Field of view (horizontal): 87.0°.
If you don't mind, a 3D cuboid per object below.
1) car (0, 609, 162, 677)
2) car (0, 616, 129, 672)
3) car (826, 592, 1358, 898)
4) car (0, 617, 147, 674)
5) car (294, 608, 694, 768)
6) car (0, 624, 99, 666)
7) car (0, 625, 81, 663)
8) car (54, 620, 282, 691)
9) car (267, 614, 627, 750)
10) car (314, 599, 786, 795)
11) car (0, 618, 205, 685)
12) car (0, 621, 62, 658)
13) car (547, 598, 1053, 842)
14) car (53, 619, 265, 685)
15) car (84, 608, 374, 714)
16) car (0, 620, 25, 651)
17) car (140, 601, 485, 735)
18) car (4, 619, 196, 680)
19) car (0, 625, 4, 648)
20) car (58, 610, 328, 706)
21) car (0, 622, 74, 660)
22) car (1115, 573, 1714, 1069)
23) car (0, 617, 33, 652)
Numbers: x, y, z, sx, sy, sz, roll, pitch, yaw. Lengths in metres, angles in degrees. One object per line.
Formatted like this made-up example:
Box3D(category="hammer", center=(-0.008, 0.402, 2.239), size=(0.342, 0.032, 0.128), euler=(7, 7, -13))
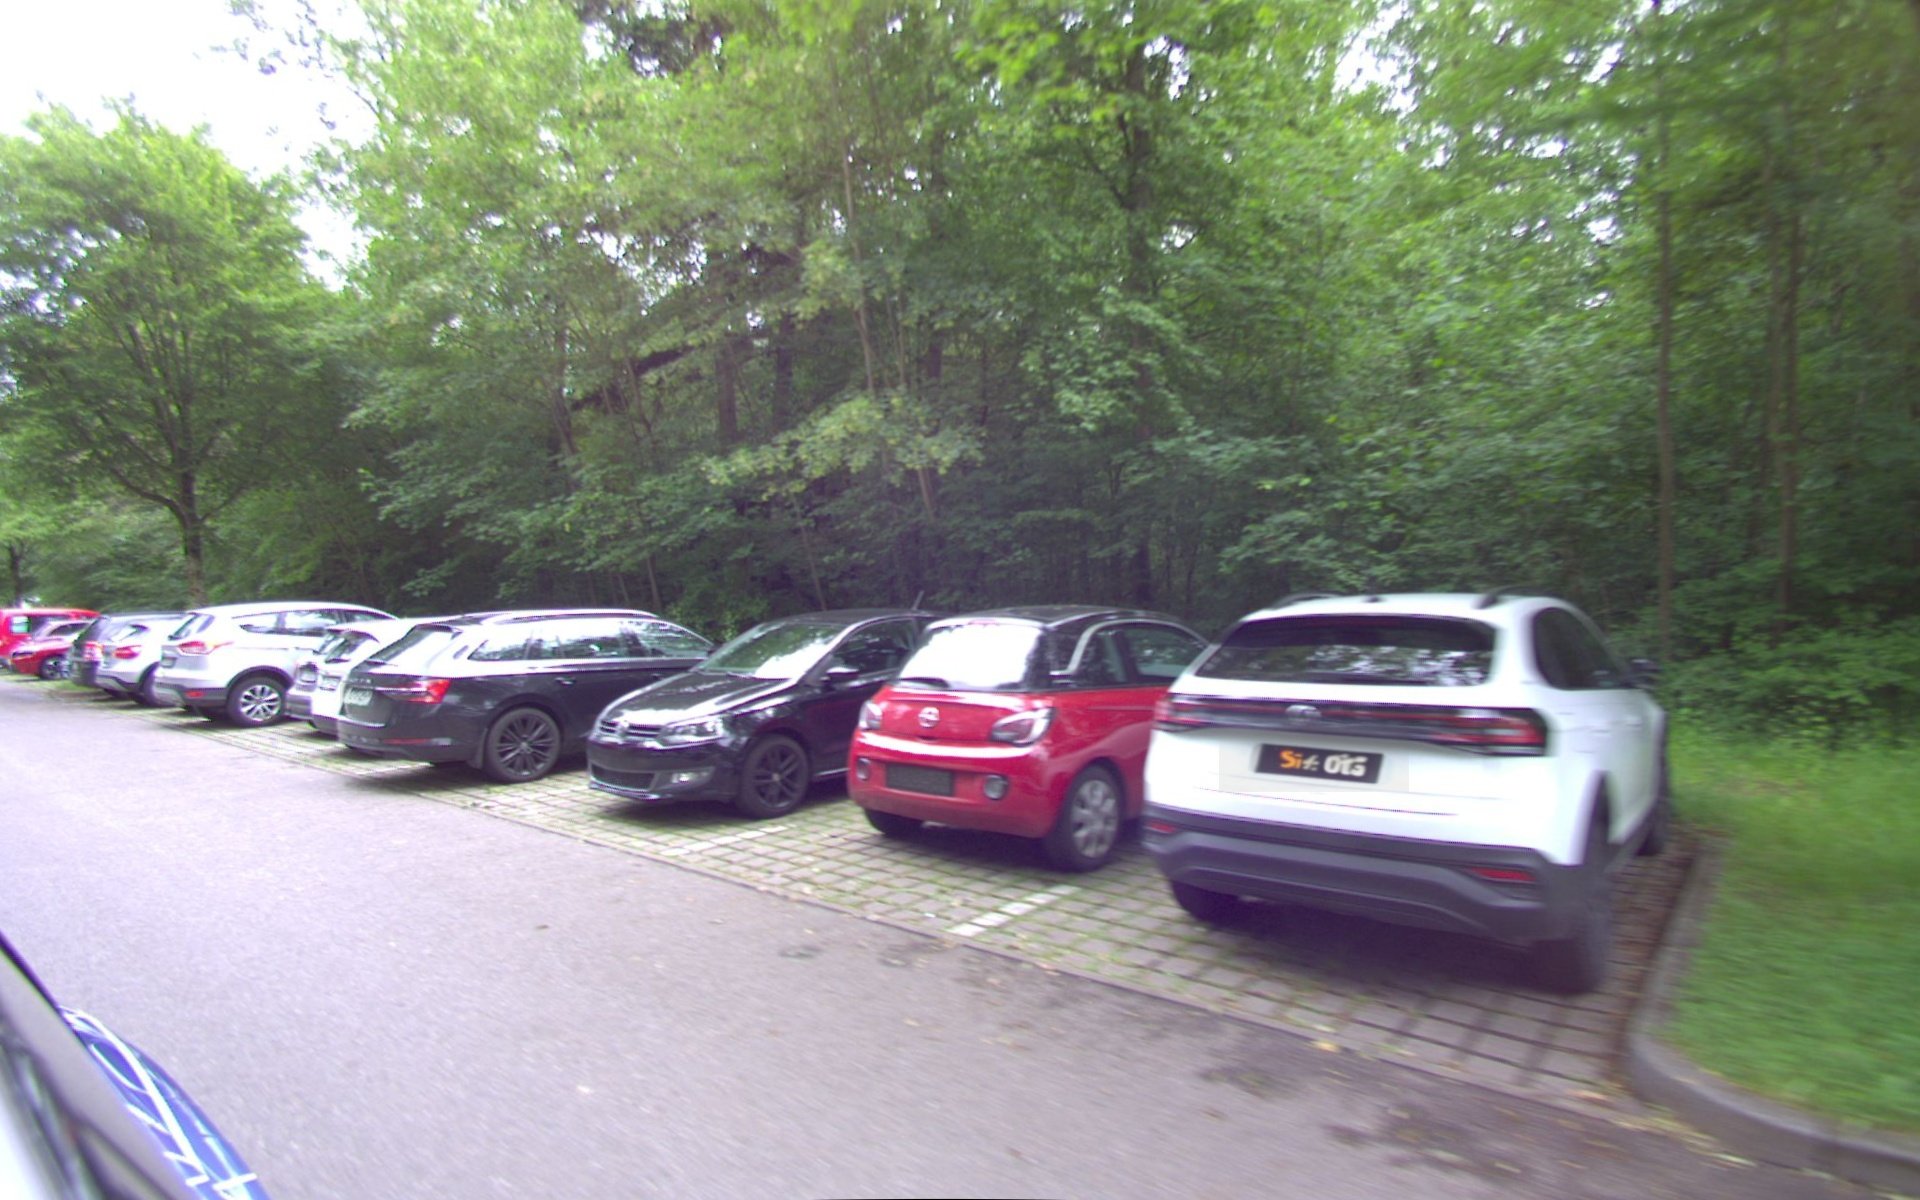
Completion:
Box3D(category="car", center=(-26.070, 1.215, 29.662), size=(1.817, 1.828, 3.946), euler=(-2, -1, 40))
Box3D(category="car", center=(-29.744, 1.417, 32.933), size=(1.741, 1.609, 3.944), euler=(-2, 0, 43))
Box3D(category="car", center=(1.151, 0.728, 7.060), size=(1.702, 1.446, 3.944), euler=(-2, 0, 42))
Box3D(category="car", center=(-27.978, 1.377, 31.531), size=(1.741, 1.609, 3.944), euler=(-2, -1, 43))
Box3D(category="car", center=(-5.289, 0.874, 11.879), size=(1.648, 1.446, 3.944), euler=(1, 1, 42))
Box3D(category="car", center=(-33.679, 1.616, 36.408), size=(1.742, 1.432, 3.943), euler=(-2, -1, 43))
Box3D(category="car", center=(-38.934, 1.807, 41.556), size=(1.819, 1.467, 4.163), euler=(-2, -1, 44))
Box3D(category="car", center=(-18.134, 1.207, 23.292), size=(1.696, 1.459, 3.943), euler=(-2, -1, 43))
Box3D(category="car", center=(-6.780, 0.985, 13.702), size=(1.812, 1.432, 3.948), euler=(-2, 0, 39))
Box3D(category="car", center=(-3.828, 0.778, 9.954), size=(1.677, 1.446, 3.944), euler=(-2, 0, 42))
Box3D(category="car", center=(-22.354, 1.287, 26.425), size=(1.770, 1.527, 3.946), euler=(-2, -1, 41))
Box3D(category="car", center=(-42.645, 1.794, 44.890), size=(1.710, 1.528, 3.952), euler=(-1, 1, 36))
Box3D(category="car", center=(-1.110, 0.774, 8.403), size=(1.677, 1.446, 3.944), euler=(-2, 0, 42))
Box3D(category="car", center=(-20.073, 1.254, 25.482), size=(1.770, 1.459, 3.946), euler=(-2, -1, 41))
Box3D(category="car", center=(-13.023, 0.999, 18.201), size=(1.814, 1.675, 3.945), euler=(-2, -1, 41))
Box3D(category="car", center=(-55.548, 2.027, 57.029), size=(1.711, 1.722, 3.949), euler=(-1, -1, 37))
Box3D(category="car", center=(-9.421, 0.882, 14.969), size=(1.812, 1.675, 3.947), euler=(-2, -1, 39))
Box3D(category="car", center=(-24.292, 1.346, 28.686), size=(1.817, 1.527, 3.946), euler=(-2, -1, 41))
Box3D(category="car", center=(-64.617, 2.411, 65.389), size=(1.711, 1.489, 3.949), euler=(-1, -1, 38))
Box3D(category="car", center=(-14.887, 1.045, 19.815), size=(1.694, 1.675, 3.947), euler=(-1, -1, 39))
Box3D(category="car", center=(-40.806, 1.782, 43.298), size=(1.817, 1.549, 4.168), euler=(-2, -1, 41))
Box3D(category="car", center=(2.575, 0.641, 5.104), size=(1.714, 1.478, 3.947), euler=(-2, 0, 40))
Box3D(category="car", center=(-50.112, 1.778, 51.647), size=(1.711, 1.740, 3.949), euler=(-1, -1, 37))
